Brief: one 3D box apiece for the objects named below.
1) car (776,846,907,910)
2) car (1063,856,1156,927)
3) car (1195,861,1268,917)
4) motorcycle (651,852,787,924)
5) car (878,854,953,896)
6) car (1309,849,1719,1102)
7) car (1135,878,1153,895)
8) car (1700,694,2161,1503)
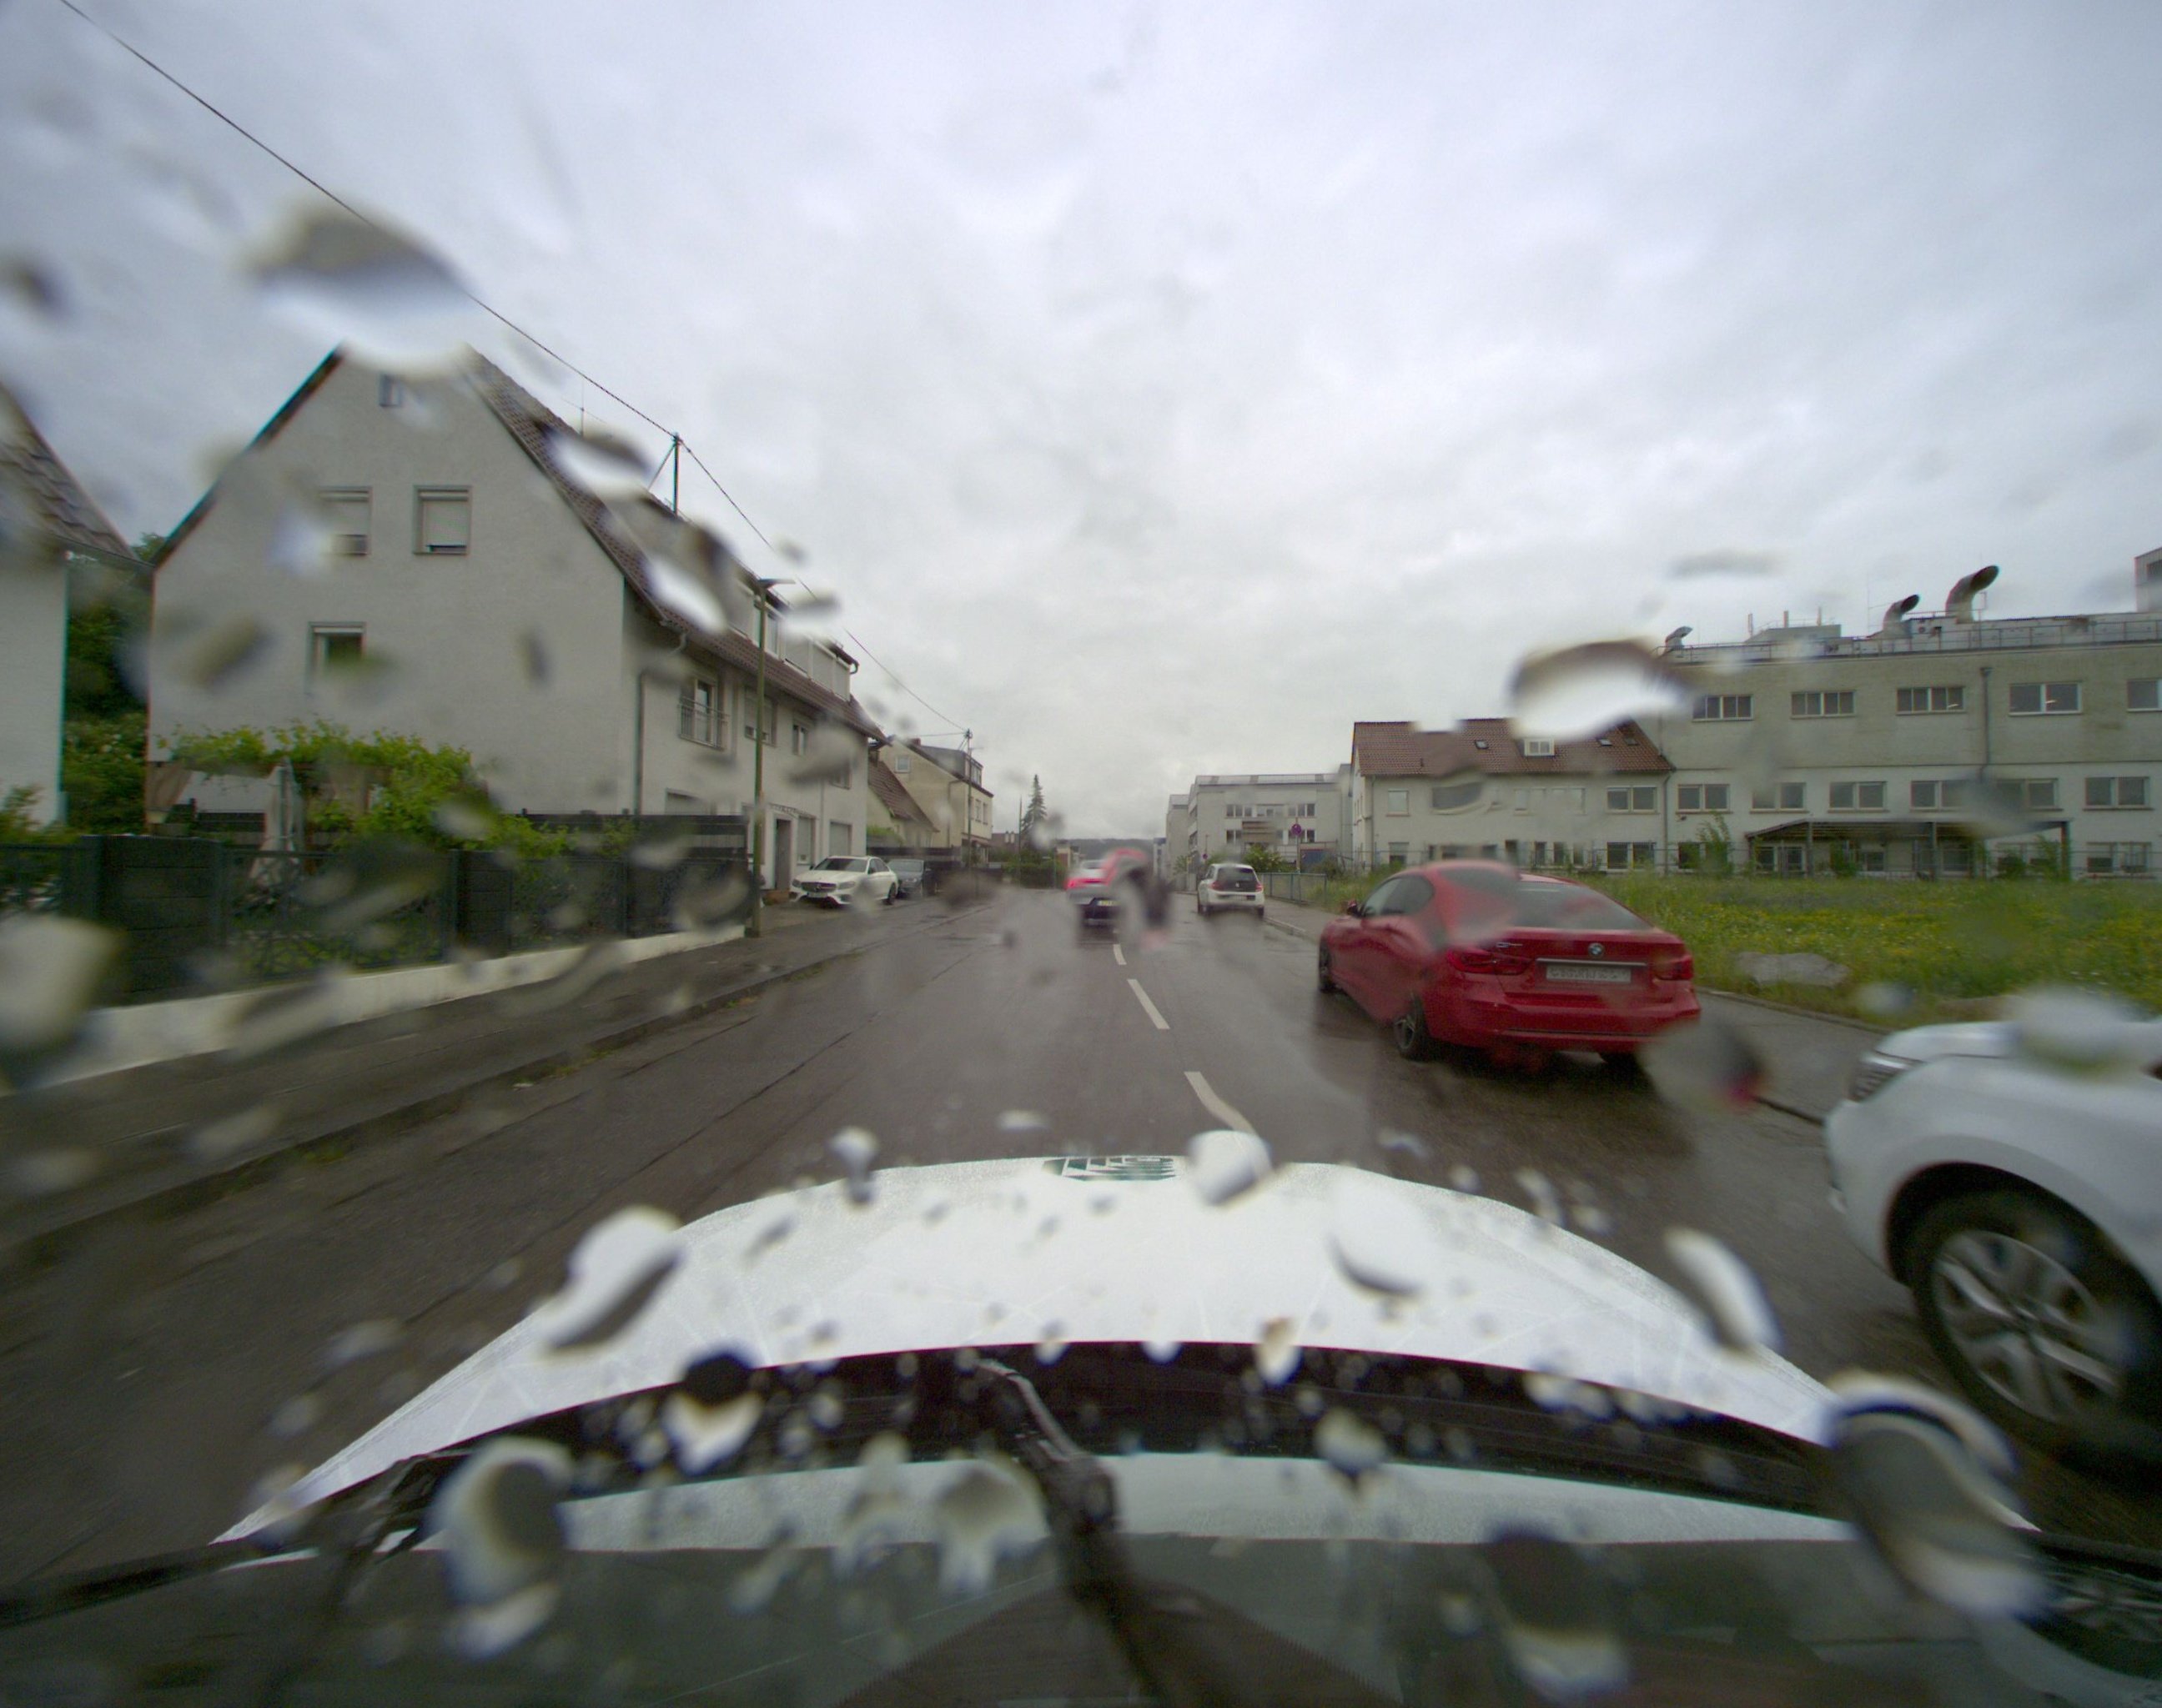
[{"bbox_3d":[-6.684,0.644,23.383,1.985,1.510,4.899,4,0,3],"label":"car"},{"bbox_3d":[0.640,0.825,20.033,1.987,1.502,4.669,1,0,0],"label":"car"},{"bbox_3d":[4.545,1.015,25.076,1.675,1.557,3.676,2,-1,2],"label":"car"},{"bbox_3d":[-7.282,0.669,16.439,2.352,1.273,0.736,3,-1,3],"label":"motorcycle"},{"bbox_3d":[-6.143,0.753,30.741,1.821,1.368,4.568,4,0,-1],"label":"car"},{"bbox_3d":[3.434,0.787,7.578,1.635,1.575,4.649,2,0,4],"label":"car"},{"bbox_3d":[8.204,4.247,106.331,1.987,2.014,3.997,0,-4,0],"label":"car"},{"bbox_3d":[3.295,0.567,0.978,1.761,1.825,4.577,2,0,2],"label":"car"}]
